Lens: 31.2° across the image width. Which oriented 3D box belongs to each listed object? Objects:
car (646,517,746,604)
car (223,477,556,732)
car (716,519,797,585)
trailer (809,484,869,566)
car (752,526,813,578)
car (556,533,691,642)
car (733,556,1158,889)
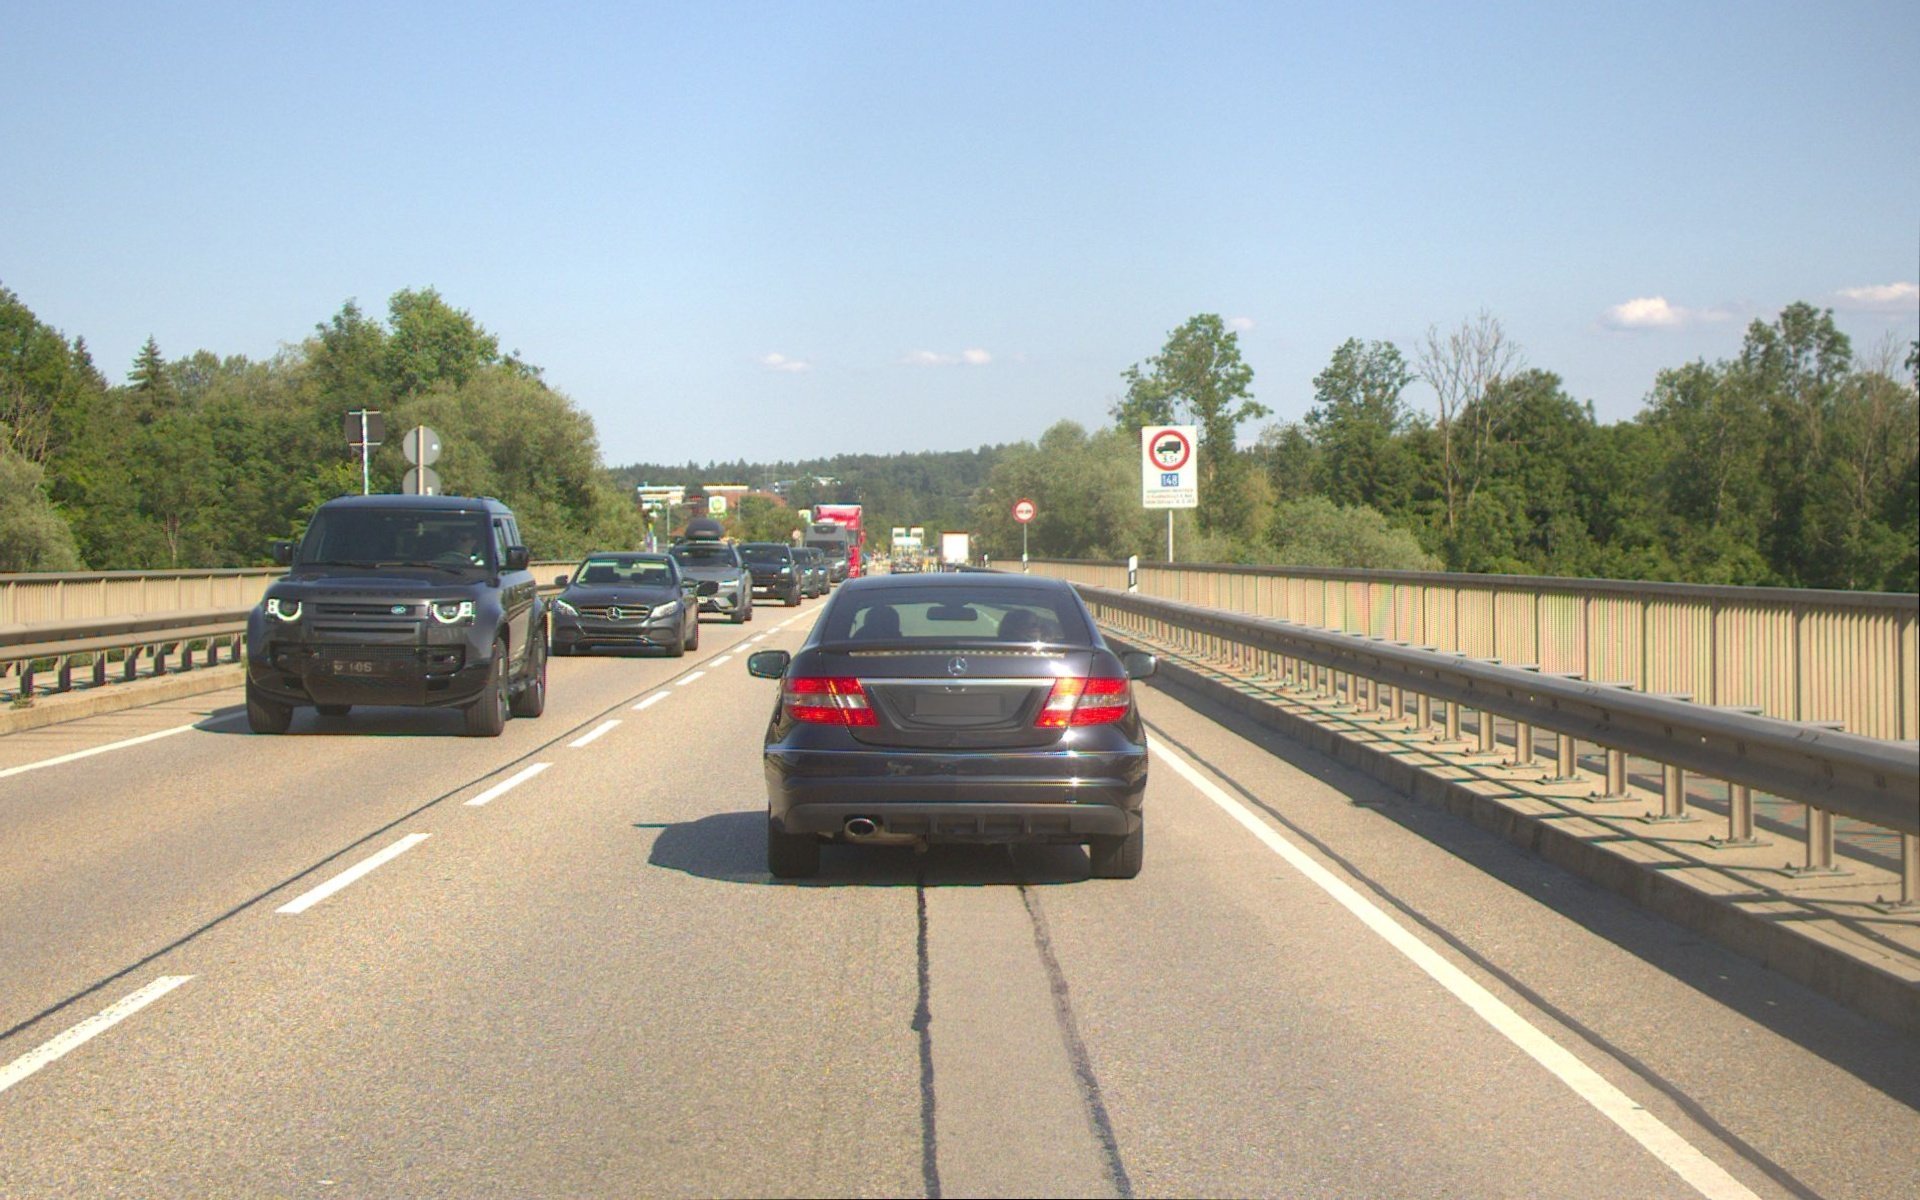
[{"bbox_3d":[-5.360,-0.824,70.217,1.854,1.716,4.566,0,1,-2],"label":"car"},{"bbox_3d":[-4.631,-0.035,28.646,2.037,1.867,5.070,2,2,-2],"label":"car"},{"bbox_3d":[-5.445,-1.307,92.285,2.053,1.647,4.722,2,2,-3],"label":"car"},{"bbox_3d":[-6.713,-4.103,189.569,2.907,4.287,14.304,0,1,-4],"label":"trailer"},{"bbox_3d":[-5.574,-1.517,107.813,1.806,1.572,4.202,0,1,-4],"label":"car"},{"bbox_3d":[-4.694,-0.214,48.383,1.765,1.442,4.457,0,1,-4],"label":"car"},{"bbox_3d":[-0.083,0.498,16.595,1.793,1.371,4.000,0,1,-1],"label":"car"}]
